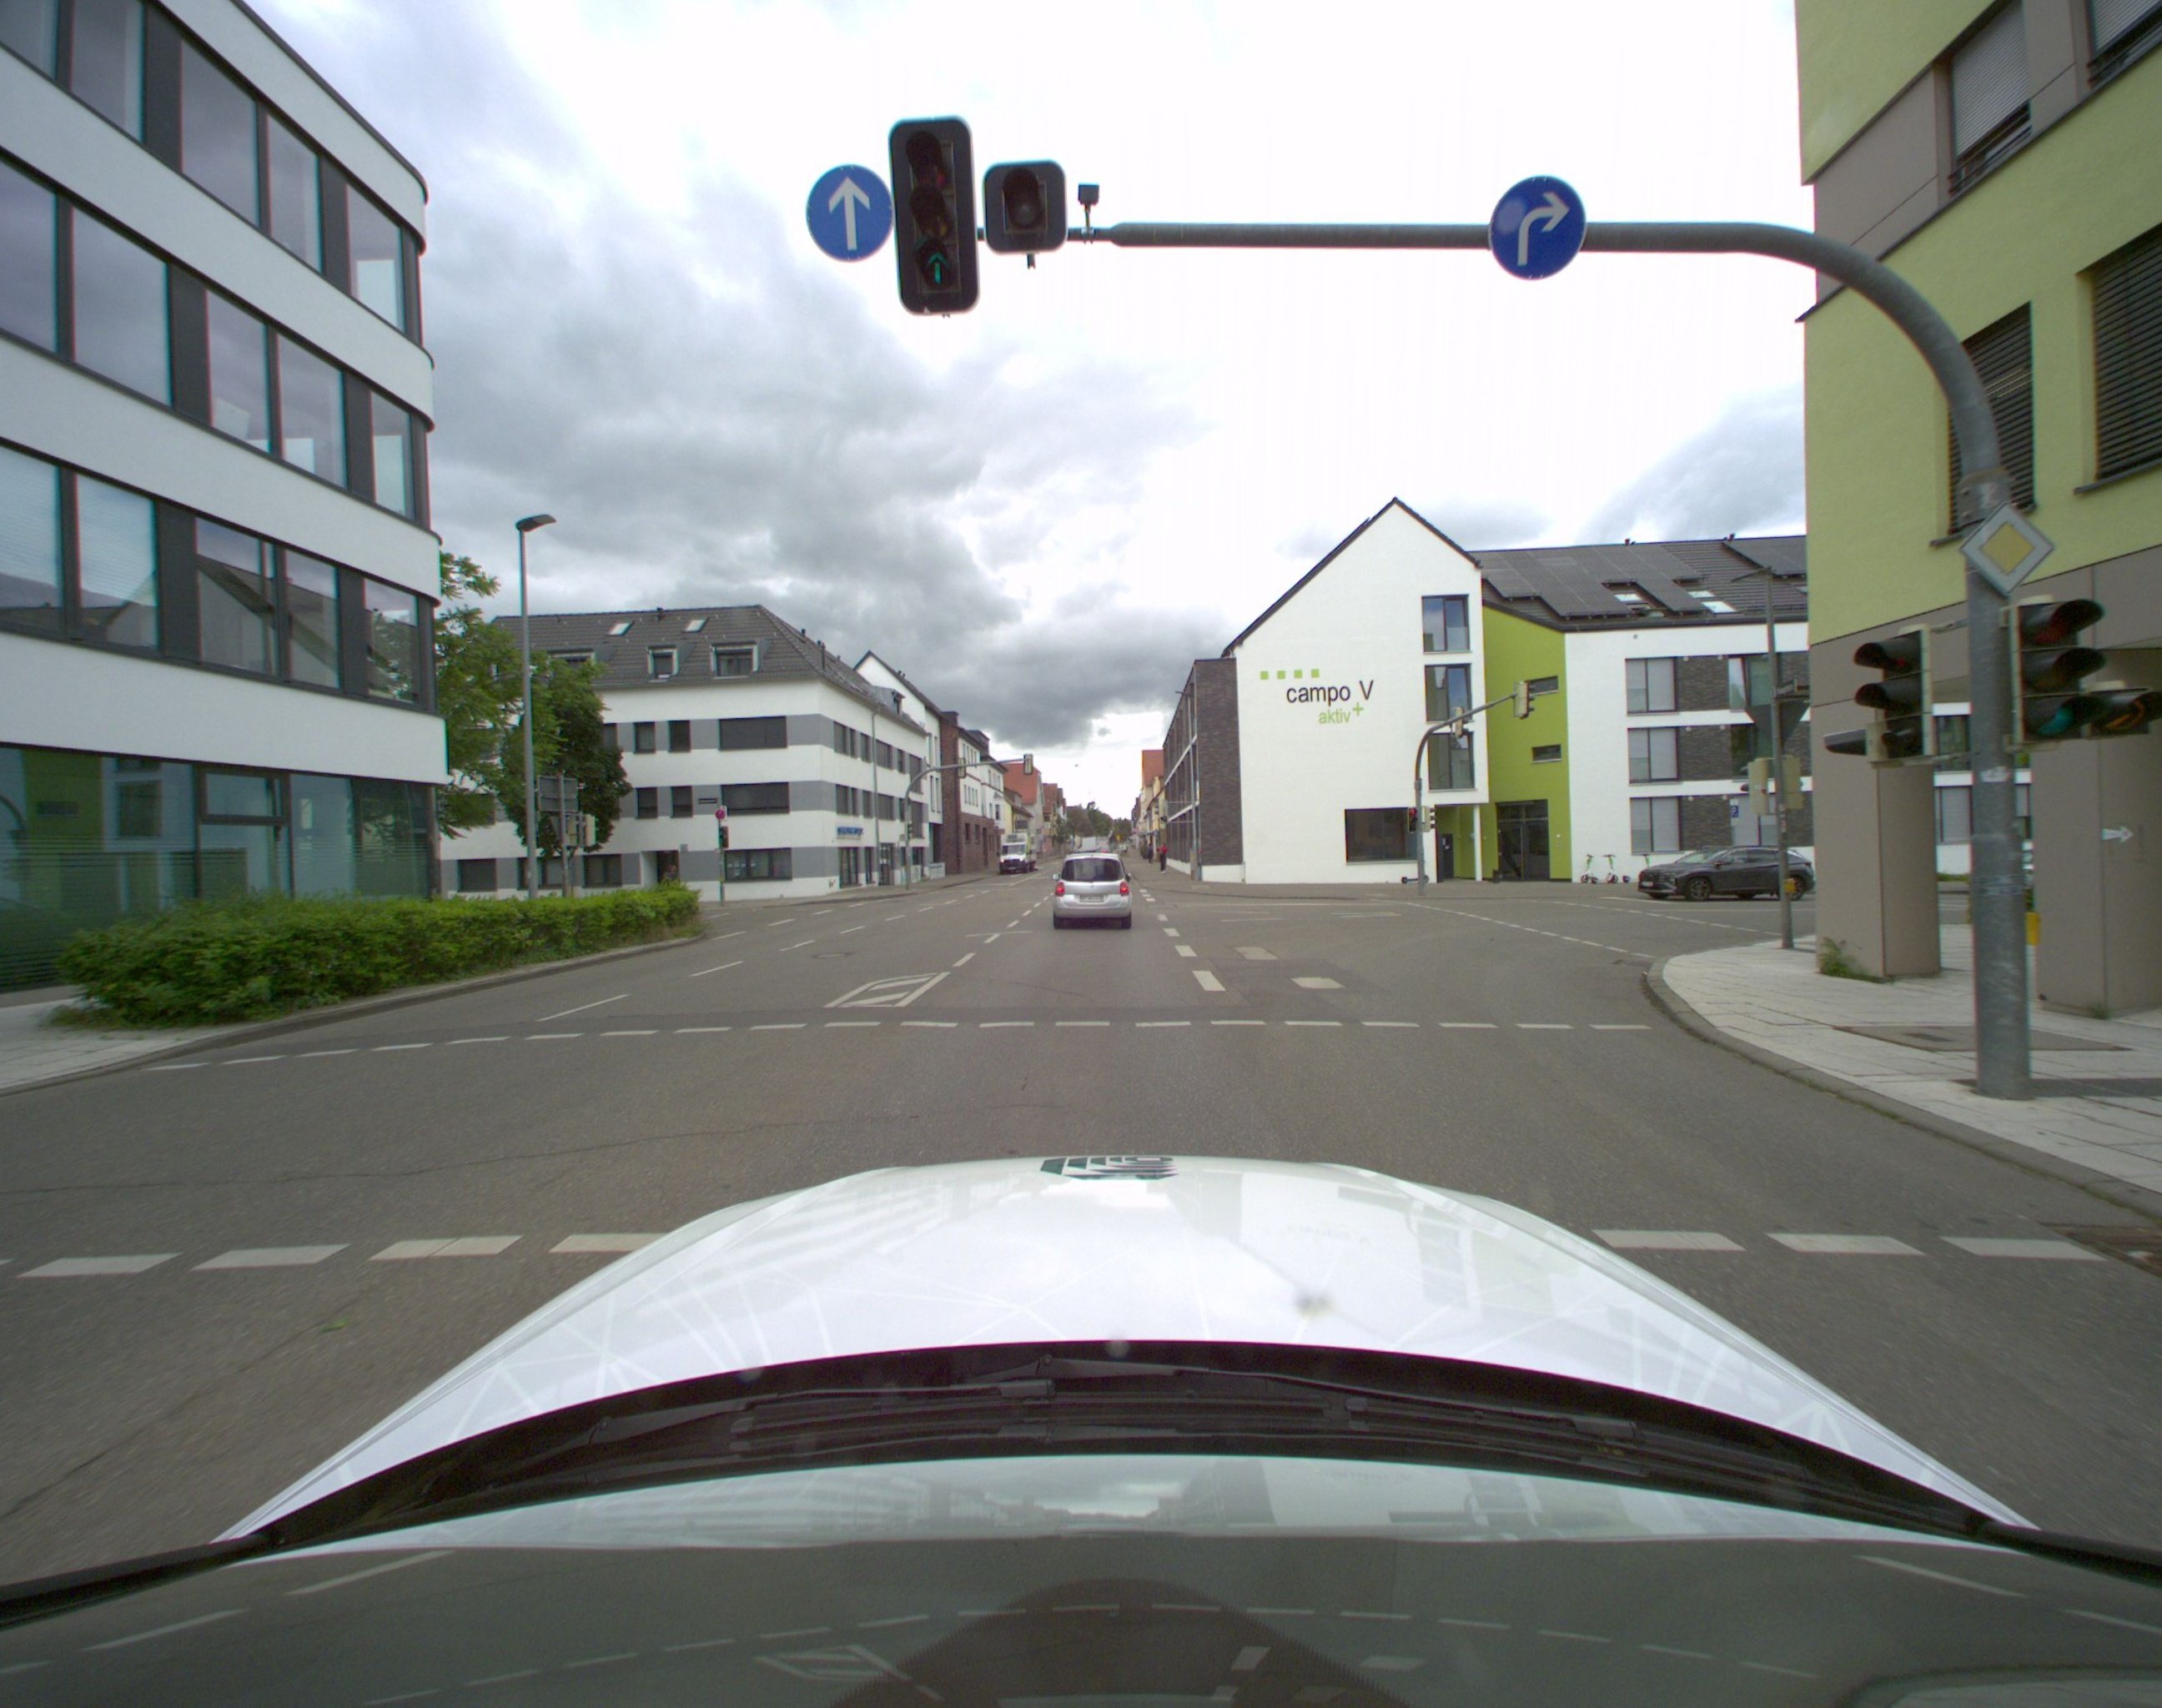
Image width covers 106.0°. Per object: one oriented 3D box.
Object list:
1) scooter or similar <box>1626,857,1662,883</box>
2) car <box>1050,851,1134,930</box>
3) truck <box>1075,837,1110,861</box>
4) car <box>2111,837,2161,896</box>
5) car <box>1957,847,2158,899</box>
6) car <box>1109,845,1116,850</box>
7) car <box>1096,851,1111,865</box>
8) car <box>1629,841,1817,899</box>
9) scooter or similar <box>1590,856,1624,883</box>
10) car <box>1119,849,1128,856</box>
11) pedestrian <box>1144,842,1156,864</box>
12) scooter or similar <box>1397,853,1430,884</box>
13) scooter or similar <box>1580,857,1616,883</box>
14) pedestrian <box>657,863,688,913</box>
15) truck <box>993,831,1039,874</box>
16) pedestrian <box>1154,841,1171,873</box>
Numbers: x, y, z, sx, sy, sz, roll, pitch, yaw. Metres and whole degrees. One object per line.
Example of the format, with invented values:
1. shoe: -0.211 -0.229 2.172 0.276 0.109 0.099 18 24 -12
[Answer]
1. scooter or similar: 22.803 0.648 32.998 1.168 1.079 0.364 0 0 5
2. car: 0.283 0.738 18.526 1.700 1.579 4.002 0 0 2
3. truck: 1.830 -0.786 131.780 2.611 3.857 6.785 -1 0 -28
4. car: 37.577 0.416 26.963 4.600 1.924 1.809 0 0 2
5. car: 32.021 0.595 26.797 4.393 1.630 1.809 0 0 2
6. car: 8.879 -1.703 227.799 1.805 1.354 4.003 -2 0 3
7. car: 2.645 0.412 95.546 1.700 1.579 4.002 0 0 2
8. car: 19.058 0.454 24.329 4.072 1.659 1.953 0 0 2
9. scooter or similar: 21.047 0.623 32.603 1.228 1.079 0.363 0 0 -10
10. car: 8.383 -0.313 160.483 1.805 1.354 4.003 -2 0 3
11. pedestrian: 5.705 -0.080 67.262 0.886 1.786 0.785 -4 0 2
12. scooter or similar: 13.808 0.599 33.819 1.225 1.235 0.407 0 0 2
13. scooter or similar: 21.182 0.650 33.383 1.221 1.079 0.365 0 0 8
14. pedestrian: -14.667 1.202 29.251 0.887 1.669 0.806 -3 3 -30
15. truck: -4.801 -0.116 61.463 2.426 2.953 8.368 -1 0 2
16. pedestrian: 4.596 0.161 46.117 0.804 1.786 0.862 -4 0 2
